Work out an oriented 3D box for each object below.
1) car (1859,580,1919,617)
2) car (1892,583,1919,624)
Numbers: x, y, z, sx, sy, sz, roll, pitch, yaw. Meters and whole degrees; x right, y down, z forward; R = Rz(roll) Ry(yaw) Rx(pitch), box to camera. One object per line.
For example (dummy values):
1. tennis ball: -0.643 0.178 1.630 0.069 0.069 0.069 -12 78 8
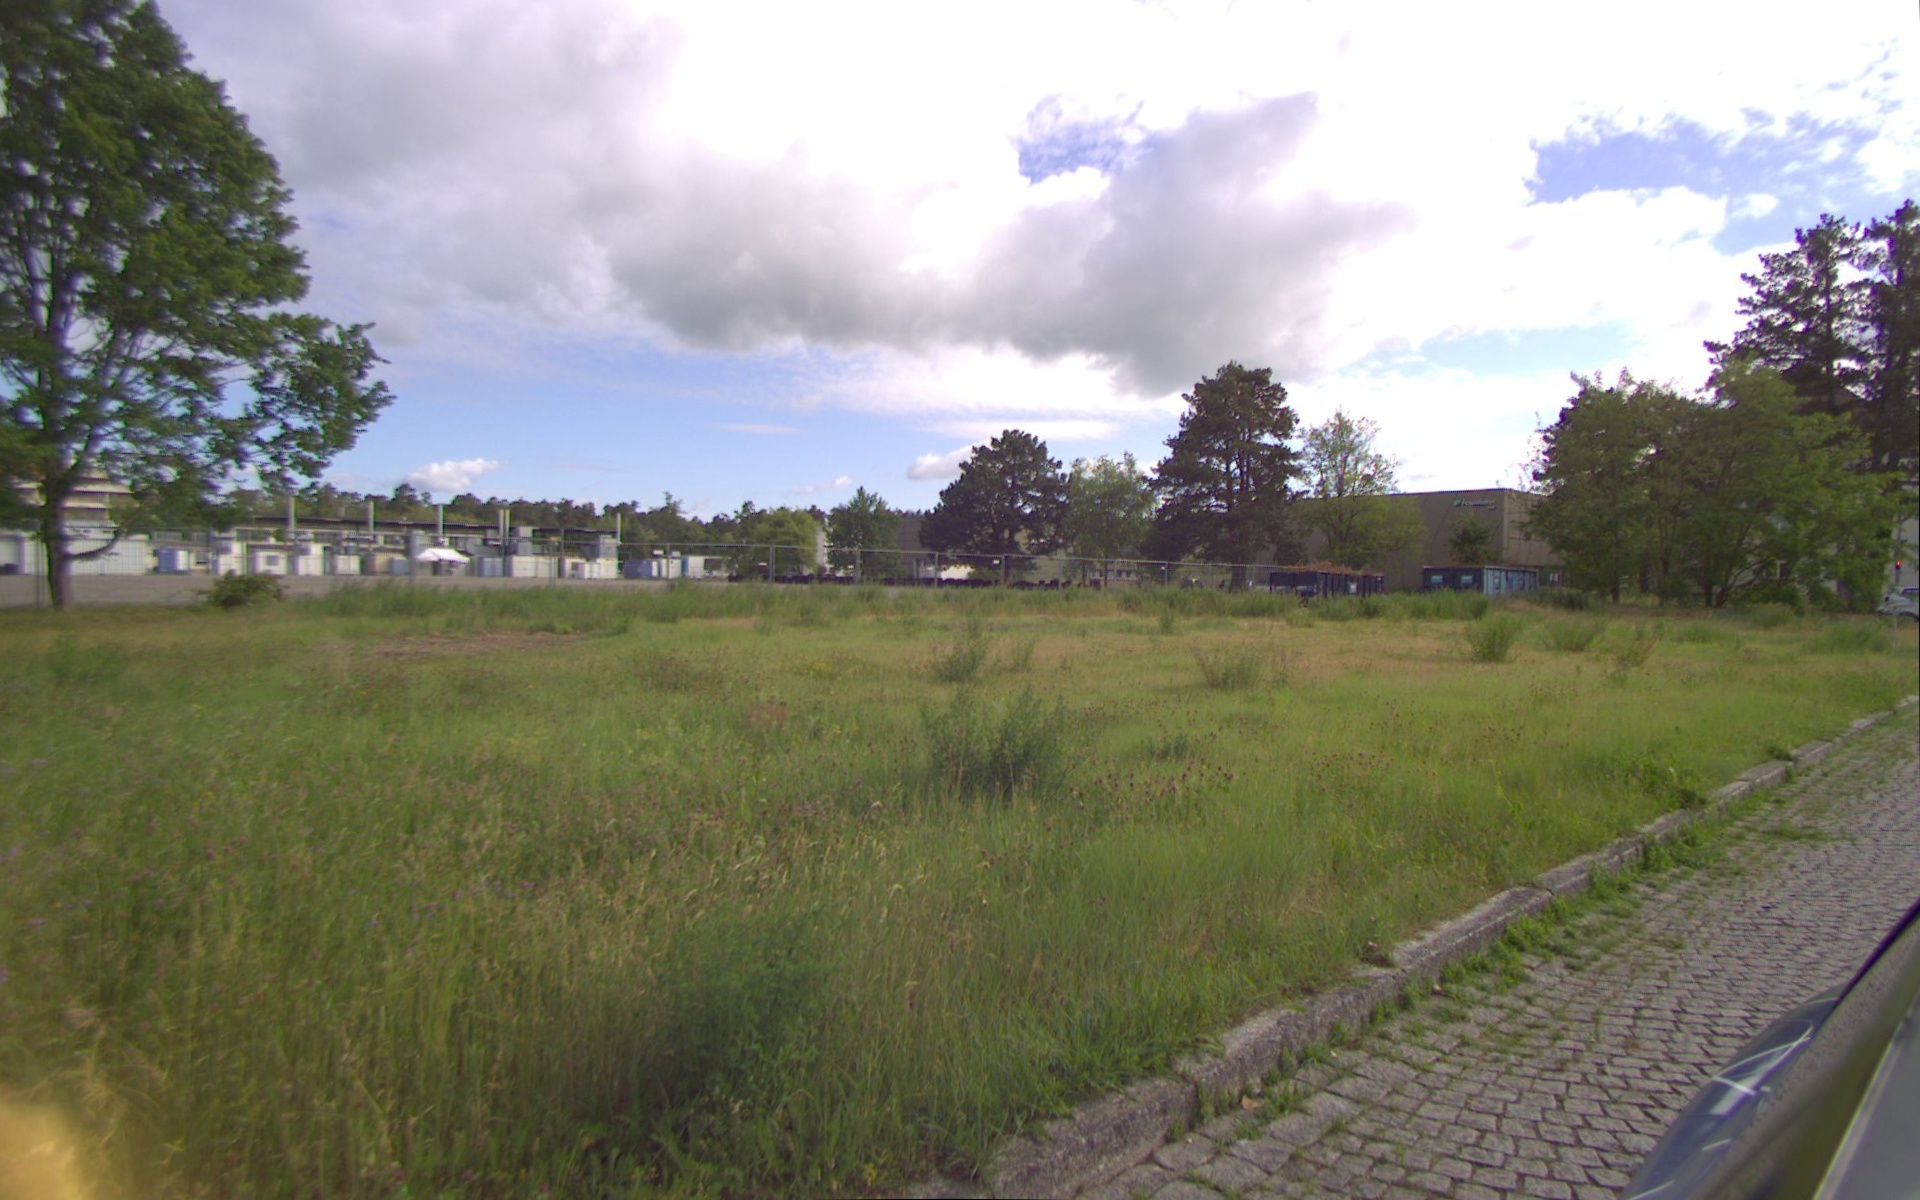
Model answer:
1. car: 38.583 -0.060 40.615 3.717 1.456 1.602 -1 0 42
2. car: 35.670 0.113 35.907 1.600 1.456 3.722 -1 1 -44
